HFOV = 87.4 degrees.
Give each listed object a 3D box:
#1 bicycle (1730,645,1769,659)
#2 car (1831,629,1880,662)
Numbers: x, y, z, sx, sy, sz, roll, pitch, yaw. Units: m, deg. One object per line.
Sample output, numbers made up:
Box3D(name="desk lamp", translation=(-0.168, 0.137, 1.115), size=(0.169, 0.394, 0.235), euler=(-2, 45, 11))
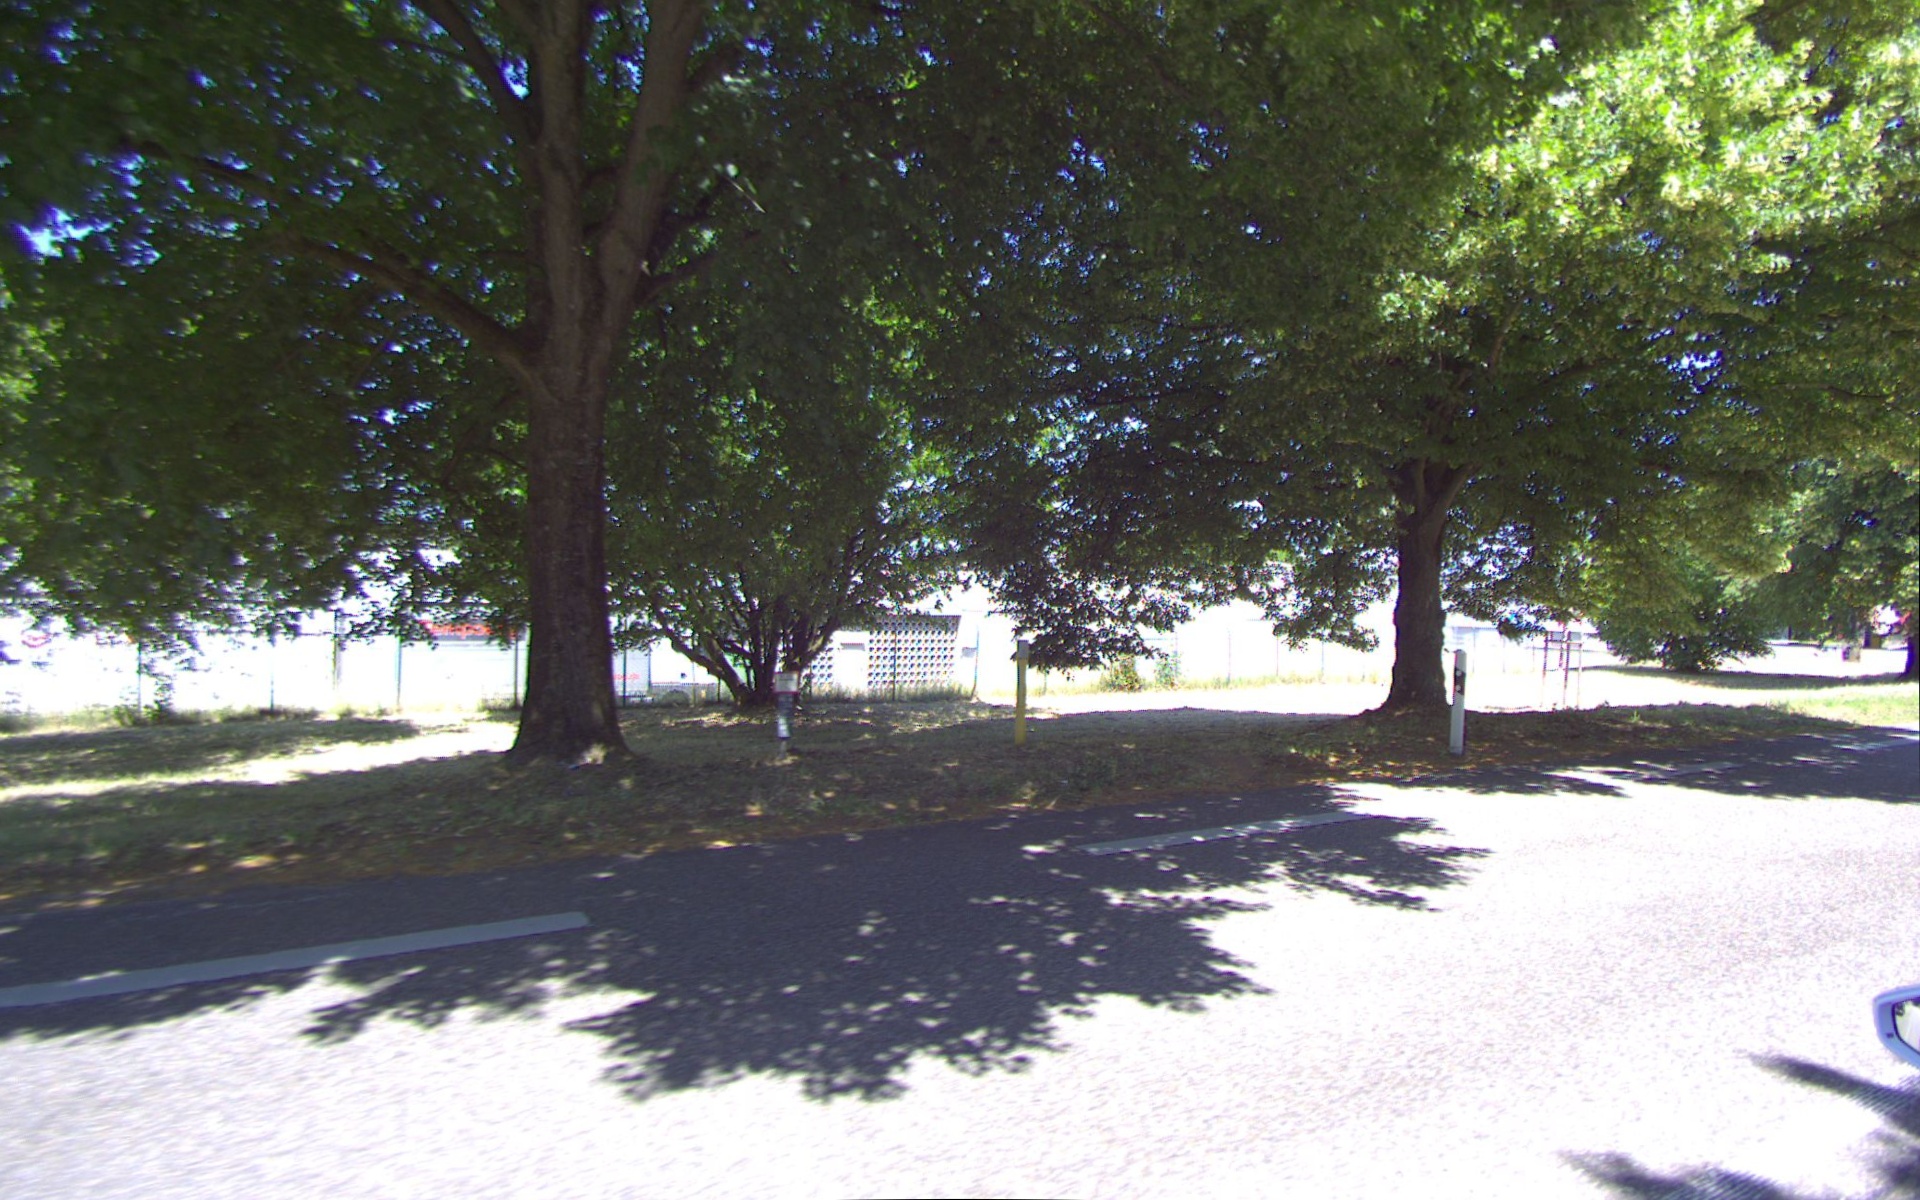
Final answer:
Box3D(name="bicycle", translation=(43.700, 2.870, 55.598), size=(0.420, 0.655, 1.661), euler=(2, -1, -35))
Box3D(name="car", translation=(46.590, 2.340, 52.223), size=(1.718, 1.606, 3.975), euler=(1, -1, 45))
